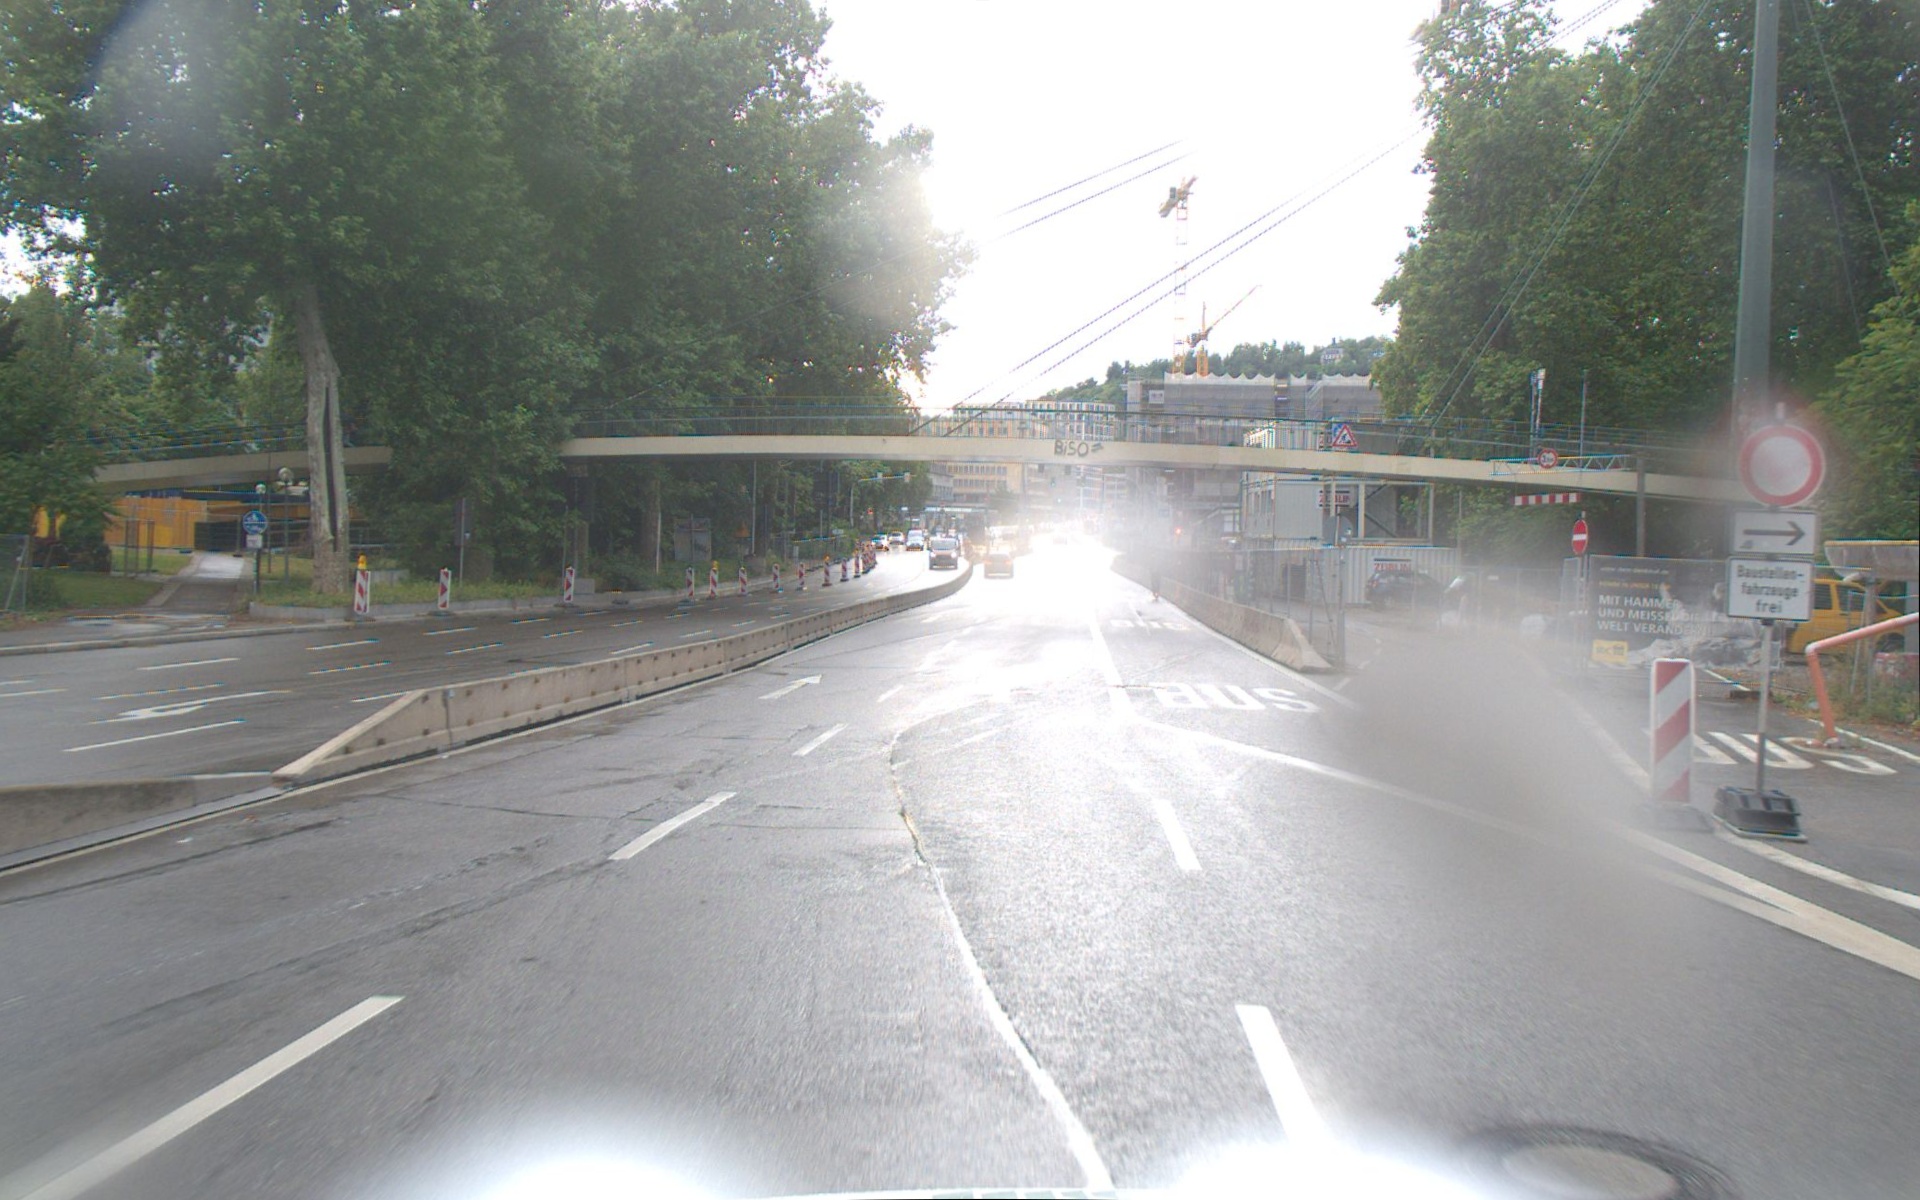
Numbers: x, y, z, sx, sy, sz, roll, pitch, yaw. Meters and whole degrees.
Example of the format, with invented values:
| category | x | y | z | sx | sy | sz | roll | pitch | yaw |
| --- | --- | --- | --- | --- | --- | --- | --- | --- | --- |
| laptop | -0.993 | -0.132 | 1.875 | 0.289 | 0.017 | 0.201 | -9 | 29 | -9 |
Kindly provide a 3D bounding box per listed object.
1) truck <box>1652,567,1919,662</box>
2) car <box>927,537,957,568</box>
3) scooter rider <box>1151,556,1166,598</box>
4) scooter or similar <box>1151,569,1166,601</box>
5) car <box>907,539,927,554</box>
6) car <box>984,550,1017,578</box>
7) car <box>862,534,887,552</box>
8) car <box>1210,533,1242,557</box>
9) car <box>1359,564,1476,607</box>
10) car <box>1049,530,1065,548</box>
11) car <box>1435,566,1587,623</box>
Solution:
| category | x | y | z | sx | sy | sz | roll | pitch | yaw |
| --- | --- | --- | --- | --- | --- | --- | --- | --- | --- |
| truck | 19.062 | 0.328 | 38.291 | 5.051 | 2.049 | 2.408 | 1 | 0 | -3 |
| car | -1.265 | -3.250 | 114.280 | 1.989 | 1.970 | 5.043 | -1 | 0 | -1 |
| scooter rider | 8.805 | -1.045 | 73.491 | 0.584 | 1.816 | 0.998 | 2 | 2 | 5 |
| scooter or similar | 8.802 | -0.666 | 73.525 | 0.584 | 1.342 | 1.669 | 2 | 2 | 5 |
| car | -4.433 | -5.501 | 169.327 | 1.679 | 1.361 | 4.057 | -5 | 2 | -6 |
| car | 2.375 | -2.119 | 98.067 | 1.863 | 1.554 | 4.178 | -1 | 0 | 0 |
| car | -8.711 | -5.781 | 168.139 | 1.994 | 1.681 | 4.309 | 0 | 3 | -11 |
| car | 24.343 | -5.056 | 151.564 | 1.873 | 2.009 | 5.162 | 1 | 3 | -2 |
| car | 19.363 | -0.618 | 70.158 | 4.449 | 1.657 | 1.789 | 1 | 3 | 1 |
| car | 12.010 | -7.551 | 204.200 | 1.951 | 2.049 | 4.002 | -1 | 0 | 4 |
| car | 18.479 | -0.203 | 55.631 | 4.408 | 1.758 | 2.000 | 1 | 2 | -2 |
